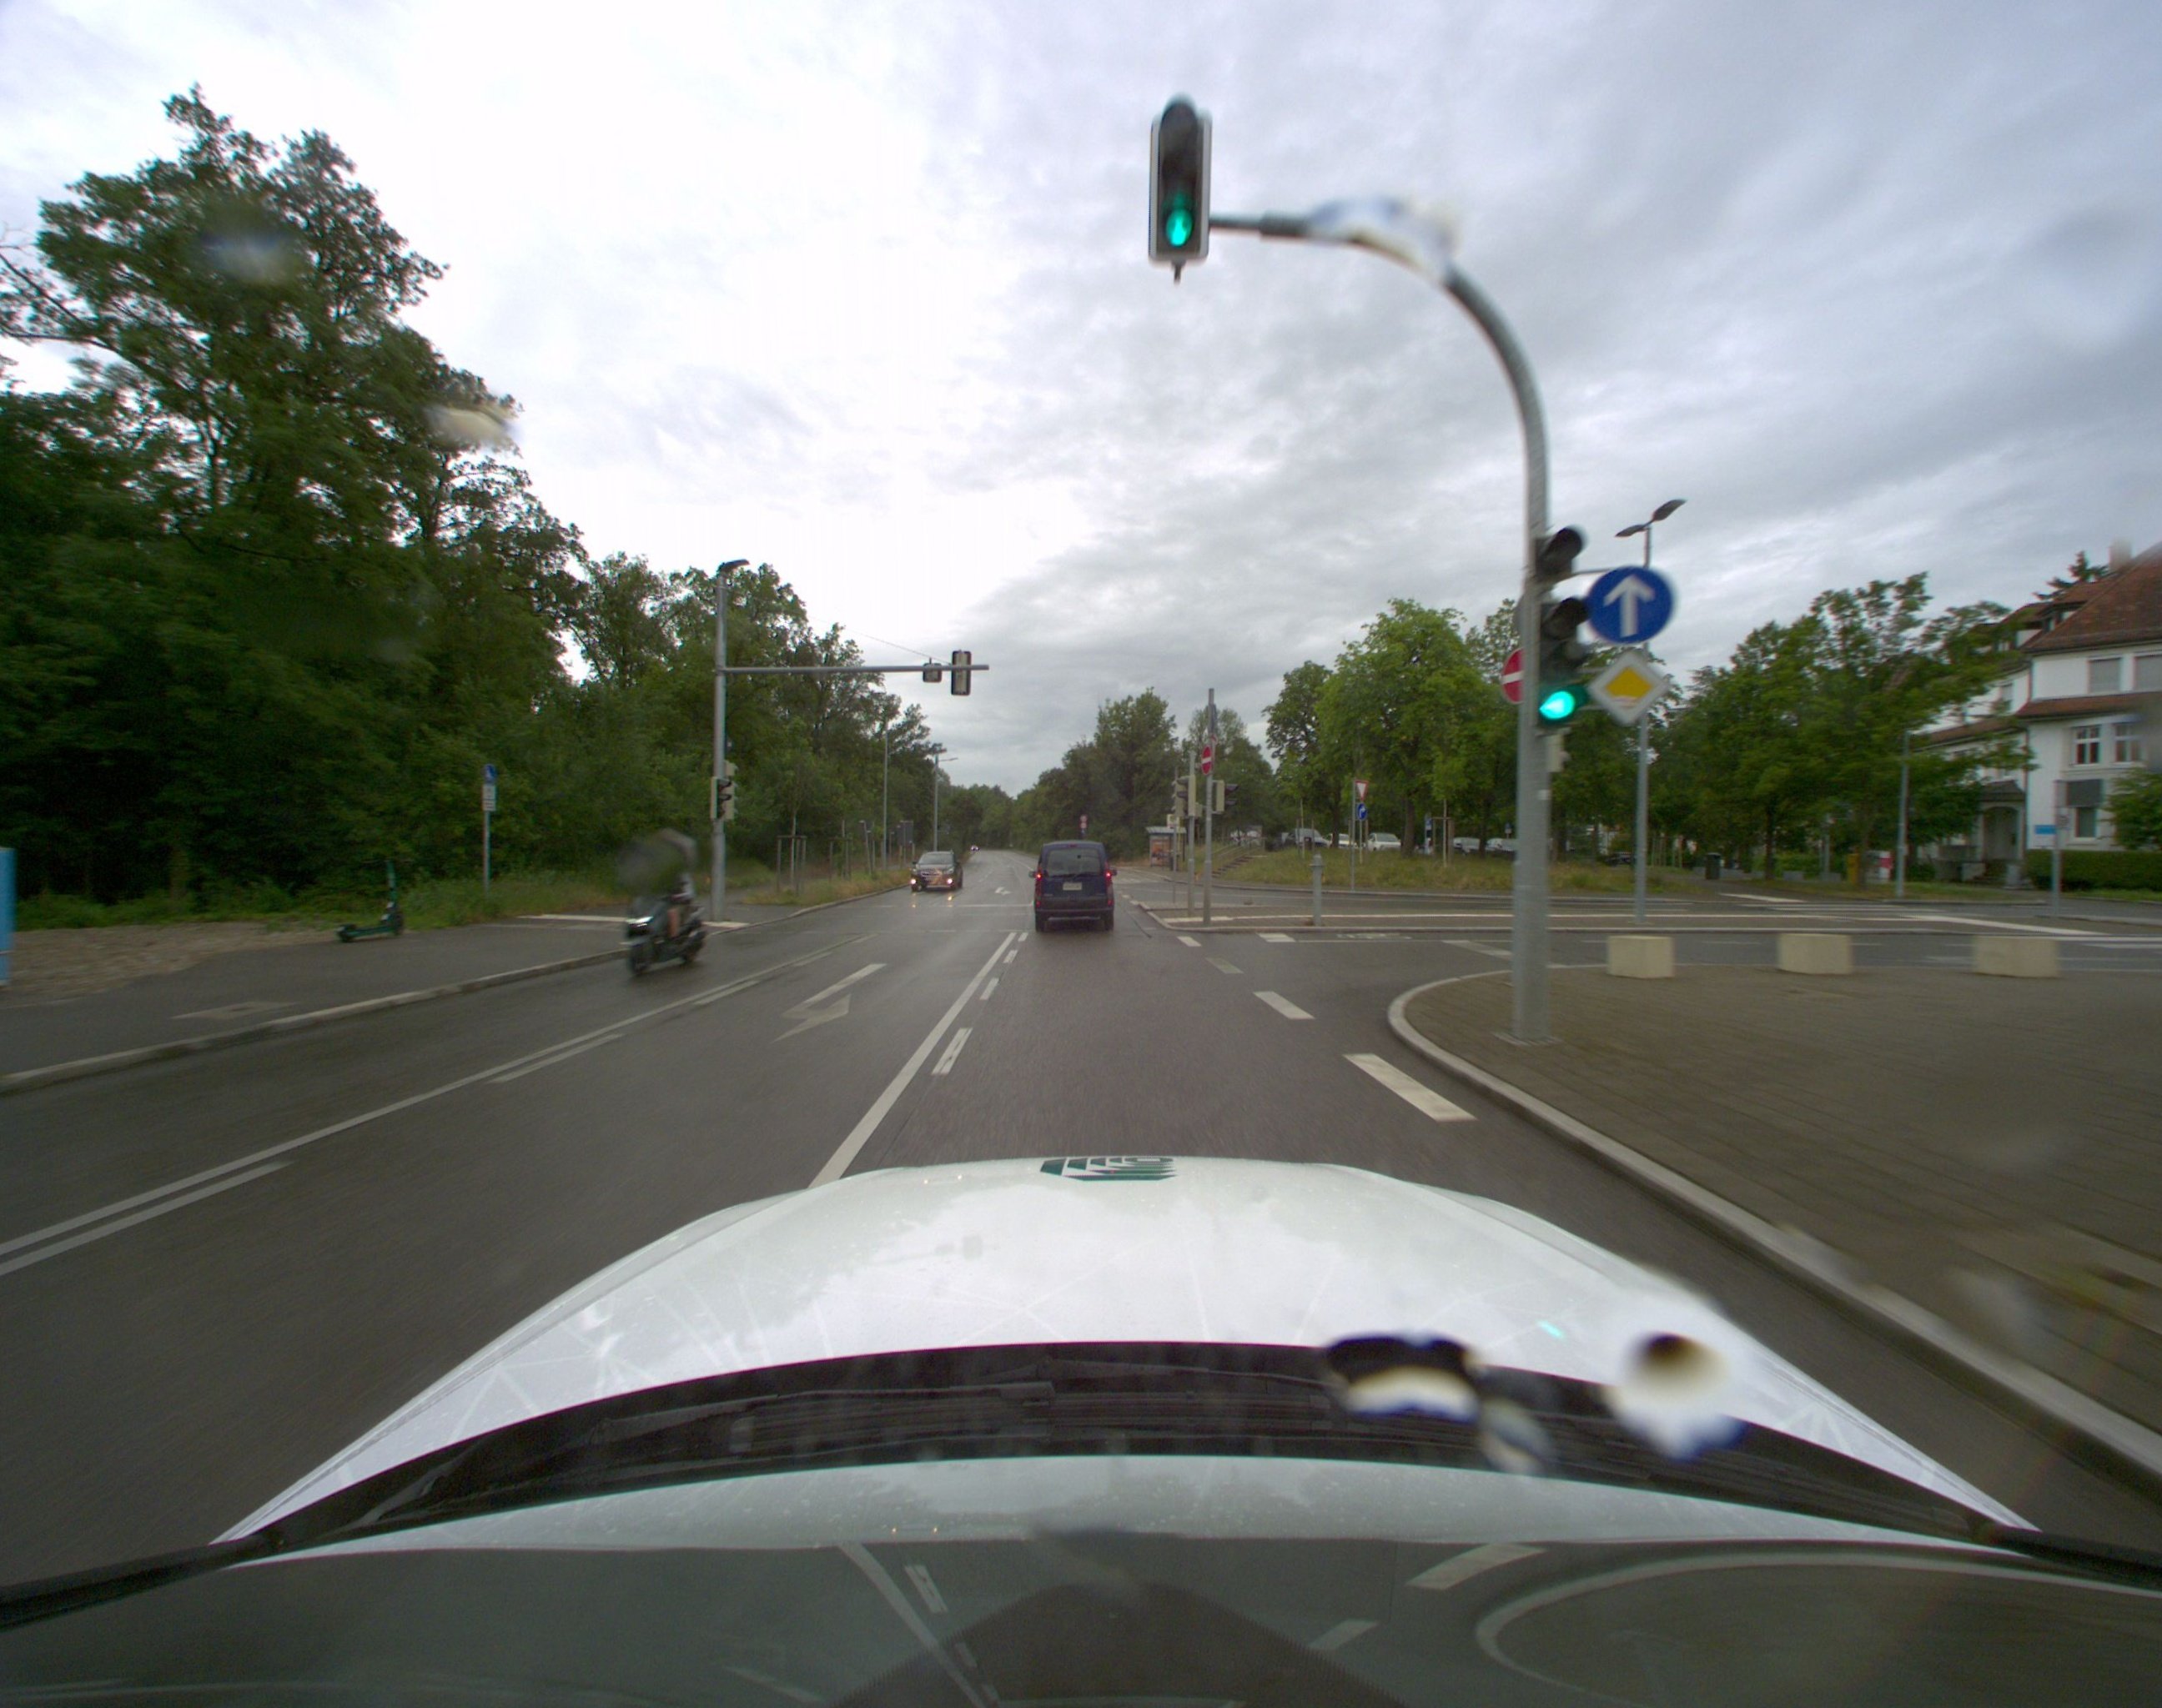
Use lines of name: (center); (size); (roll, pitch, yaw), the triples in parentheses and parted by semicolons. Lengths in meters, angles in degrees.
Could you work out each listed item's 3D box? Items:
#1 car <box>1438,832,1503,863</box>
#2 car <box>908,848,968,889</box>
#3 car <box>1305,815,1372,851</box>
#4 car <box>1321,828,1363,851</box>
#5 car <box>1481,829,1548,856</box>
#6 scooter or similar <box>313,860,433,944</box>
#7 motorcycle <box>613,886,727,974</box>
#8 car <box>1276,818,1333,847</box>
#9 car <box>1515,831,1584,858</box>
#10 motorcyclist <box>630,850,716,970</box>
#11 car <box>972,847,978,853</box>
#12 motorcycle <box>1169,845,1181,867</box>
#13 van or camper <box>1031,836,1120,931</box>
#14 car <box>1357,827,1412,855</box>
car: (23.141, -0.390, 48.521); (1.986, 1.661, 4.002); (3, 1, 1)
car: (-5.851, 0.539, 33.816); (1.784, 1.581, 4.558); (0, 0, -2)
car: (13.274, -1.060, 42.238); (1.989, 1.661, 3.997); (3, 1, -3)
car: (18.843, -1.022, 58.910); (1.878, 1.480, 4.071); (3, 0, 2)
car: (25.237, -0.622, 47.557); (1.878, 1.480, 4.071); (1, 0, 2)
scooter or similar: (-11.079, 0.713, 12.807); (0.515, 1.212, 1.471); (1, 0, 5)
motorcycle: (-5.819, 1.031, 11.668); (0.592, 1.050, 1.999); (0, 0, 1)
car: (13.127, -1.232, 48.105); (1.988, 1.480, 4.281); (2, 0, -2)
car: (28.120, -0.531, 49.053); (1.879, 1.480, 4.069); (2, 0, 1)
motorcyclist: (-5.796, 0.763, 11.622); (0.743, 1.632, 0.927); (0, 0, 0)
car: (-27.830, -1.085, 214.384); (1.597, 1.441, 3.980); (-1, 1, -8)
motorcycle: (5.588, 0.132, 48.251); (0.585, 1.289, 1.543); (0, 0, 11)
van or camper: (-0.202, 0.560, 17.936); (1.709, 1.826, 3.996); (1, 0, -3)
car: (18.071, -0.749, 48.737); (1.878, 1.480, 4.071); (2, 0, 2)
